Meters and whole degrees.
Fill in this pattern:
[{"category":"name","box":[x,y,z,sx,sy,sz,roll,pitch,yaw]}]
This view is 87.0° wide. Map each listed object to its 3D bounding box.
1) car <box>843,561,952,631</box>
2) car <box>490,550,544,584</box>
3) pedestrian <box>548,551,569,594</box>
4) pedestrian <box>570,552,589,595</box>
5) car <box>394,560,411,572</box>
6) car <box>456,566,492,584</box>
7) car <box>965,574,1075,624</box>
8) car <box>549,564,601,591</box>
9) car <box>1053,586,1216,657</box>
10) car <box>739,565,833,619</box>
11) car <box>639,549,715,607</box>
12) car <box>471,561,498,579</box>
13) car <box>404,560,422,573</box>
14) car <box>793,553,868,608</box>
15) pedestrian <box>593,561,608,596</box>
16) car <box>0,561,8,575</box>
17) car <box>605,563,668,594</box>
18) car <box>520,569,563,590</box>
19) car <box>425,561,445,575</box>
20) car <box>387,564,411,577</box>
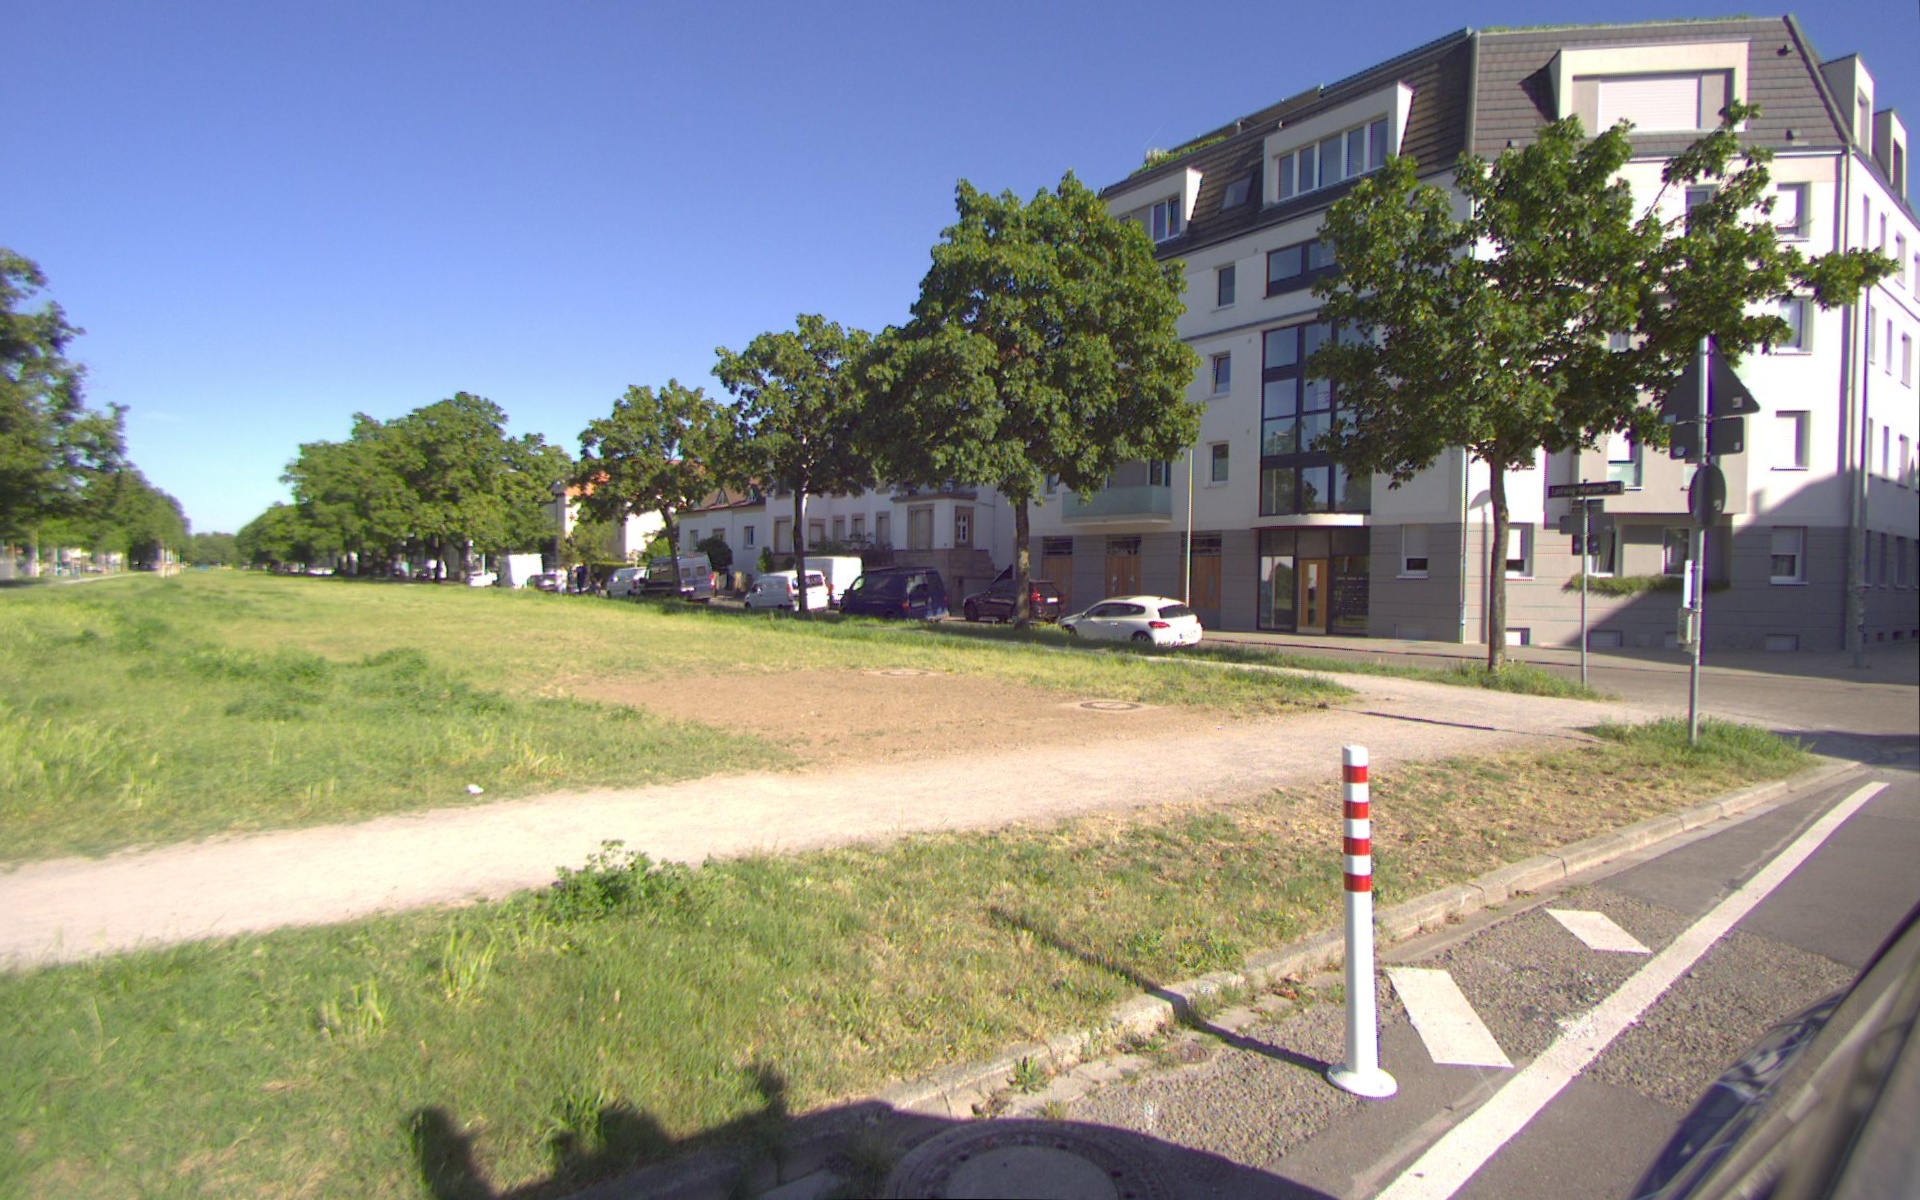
[{"category":"car","box":[-2.153,-0.205,34.089,1.752,2.108,3.994,-5,5,-36]},{"category":"car","box":[-33.231,-2.474,75.838,2.503,2.363,5.920,0,2,-36]},{"category":"pedestrian","box":[-17.884,-1.230,45.102,0.711,1.900,0.629,1,1,-38]},{"category":"pedestrian","box":[-17.143,-1.198,45.551,0.632,1.900,0.629,0,1,-38]},{"category":"car","box":[-87.477,-5.353,158.712,1.831,1.868,3.994,0,2,-36]},{"category":"car","box":[-42.473,-2.208,88.345,2.042,1.484,4.728,0,2,-36]},{"category":"car","box":[2.183,-0.106,38.174,1.861,1.703,4.289,-1,3,-36]},{"category":"car","box":[-24.606,-1.461,64.610,2.046,1.618,4.288,0,2,-36]},{"category":"car","box":[4.345,0.472,25.723,1.709,1.450,3.993,-5,5,-37]},{"category":"car","box":[-7.054,-0.382,40.735,1.843,1.906,4.423,-5,5,-36]},{"category":"car","box":[-14.019,-1.134,50.065,2.153,2.615,4.288,-5,4,-36]},{"category":"car","box":[-50.746,-3.172,107.993,1.831,1.868,3.994,0,2,-36]},{"category":"car","box":[-79.035,-4.804,146.250,1.831,1.868,3.994,0,2,-36]},{"category":"car","box":[-6.401,-1.017,49.752,1.985,2.580,3.994,-1,2,-36]},{"category":"pedestrian","box":[-16.208,-0.974,45.653,0.487,1.524,0.535,1,1,-37]},{"category":"car","box":[-101.047,-3.356,105.868,1.690,1.358,3.808,0,2,-37]},{"category":"car","box":[-17.853,-1.214,55.744,2.046,1.618,4.288,0,2,-36]},{"category":"car","box":[-29.241,-1.425,70.679,1.898,1.361,4.110,0,2,-36]},{"category":"car","box":[-70.649,-4.296,136.222,1.831,1.868,3.994,0,2,-36]},{"category":"car","box":[-69.302,-3.676,124.972,2.042,1.484,4.728,0,2,-36]}]
